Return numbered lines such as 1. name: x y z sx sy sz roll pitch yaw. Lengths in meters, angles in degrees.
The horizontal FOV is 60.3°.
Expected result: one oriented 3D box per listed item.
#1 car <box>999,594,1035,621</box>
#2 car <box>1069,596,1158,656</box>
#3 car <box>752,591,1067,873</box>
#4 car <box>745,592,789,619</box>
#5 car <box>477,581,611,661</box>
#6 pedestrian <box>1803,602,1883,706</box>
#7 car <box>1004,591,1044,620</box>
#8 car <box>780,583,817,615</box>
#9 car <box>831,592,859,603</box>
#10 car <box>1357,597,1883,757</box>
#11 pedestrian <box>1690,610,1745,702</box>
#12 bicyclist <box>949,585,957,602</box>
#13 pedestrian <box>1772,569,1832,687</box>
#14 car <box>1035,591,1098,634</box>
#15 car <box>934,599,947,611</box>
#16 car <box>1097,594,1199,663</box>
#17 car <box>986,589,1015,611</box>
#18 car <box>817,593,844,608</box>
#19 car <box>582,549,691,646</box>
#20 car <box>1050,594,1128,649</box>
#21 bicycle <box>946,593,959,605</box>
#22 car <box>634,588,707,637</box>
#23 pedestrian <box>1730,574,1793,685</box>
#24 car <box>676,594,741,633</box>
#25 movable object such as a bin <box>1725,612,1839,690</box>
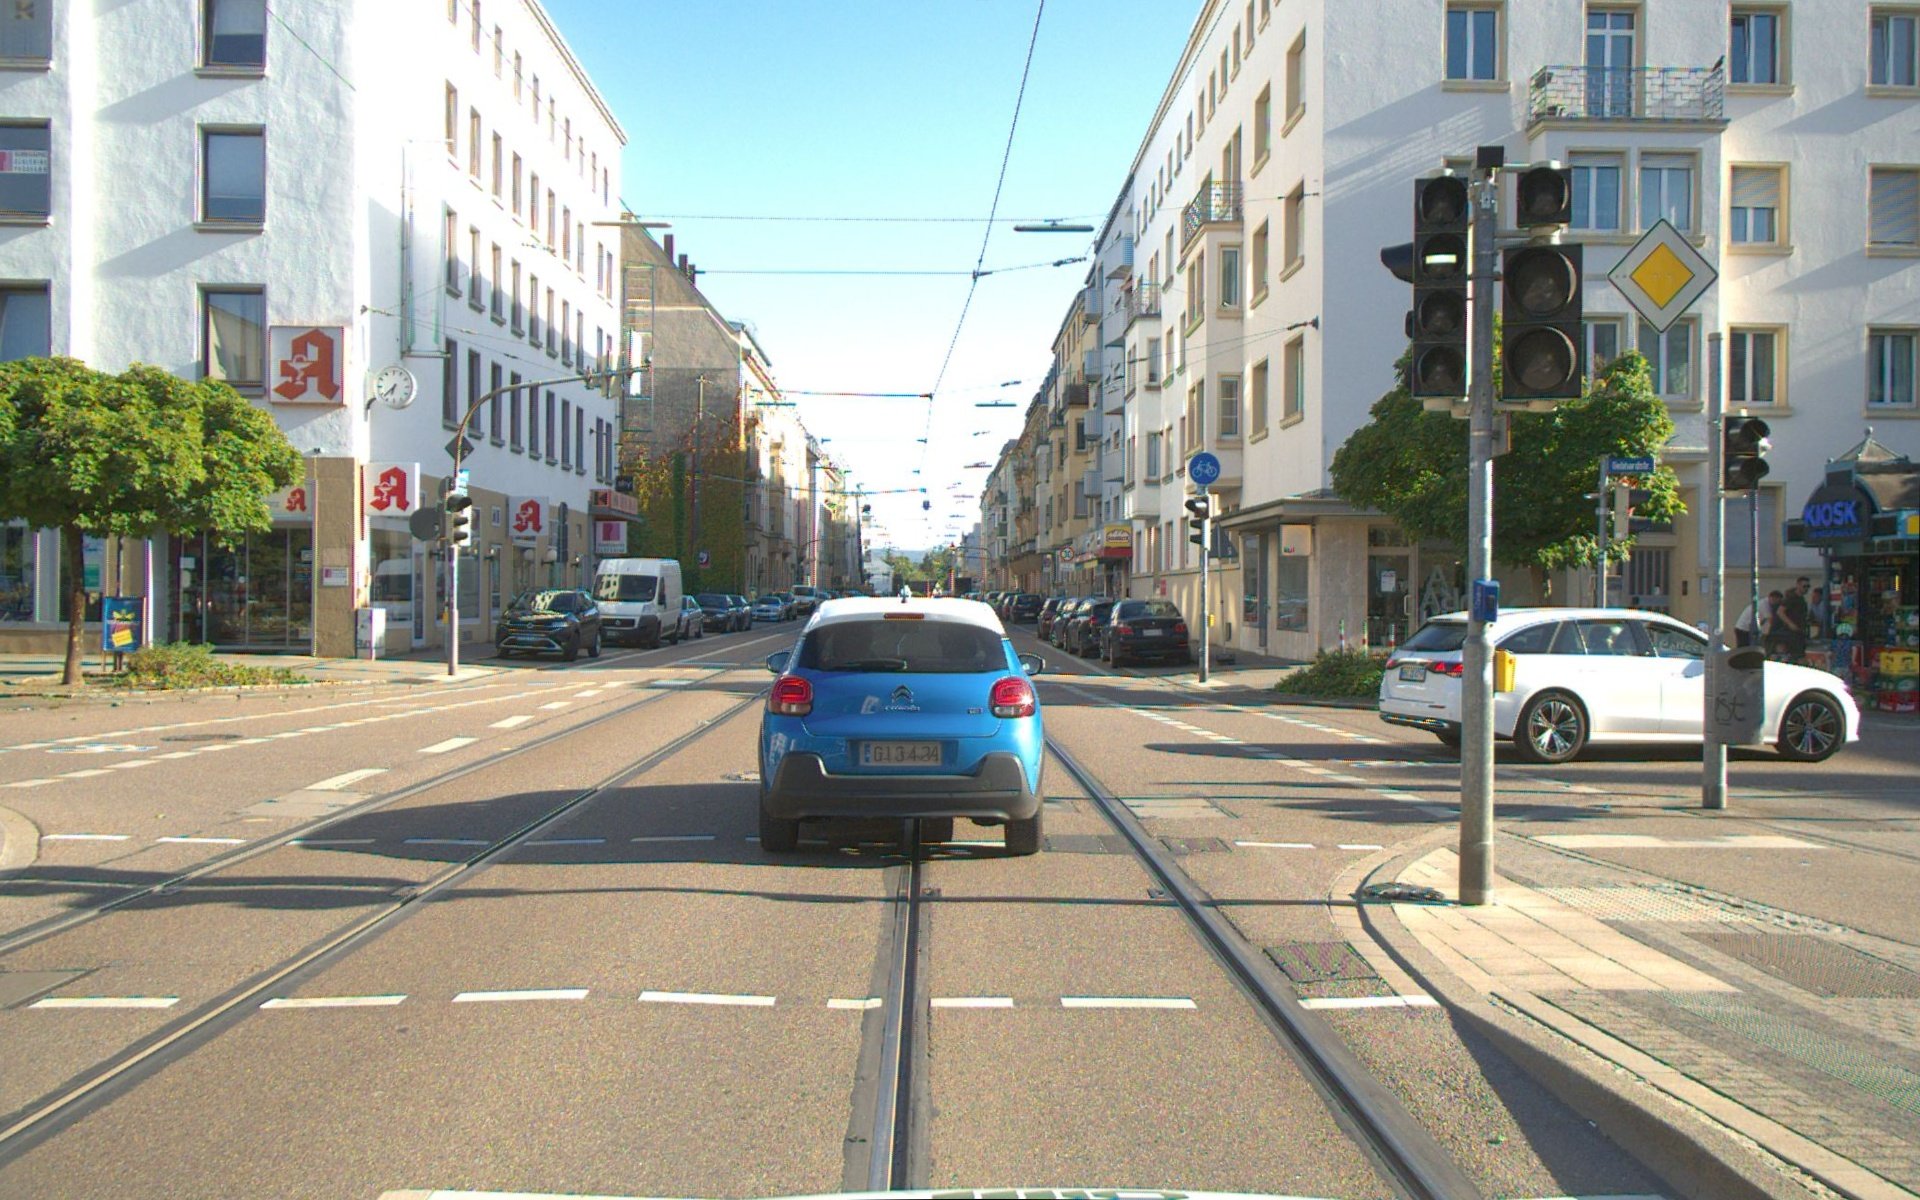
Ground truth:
1. car: 3.283 0.413 95.415 1.953 1.489 4.000 0 0 0
2. car: 3.965 0.645 43.182 1.953 1.489 4.000 0 0 0
3. car: -0.298 0.717 10.950 1.693 1.508 3.826 1 0 -1
4. car: -10.314 0.294 88.528 1.953 1.348 3.921 1 0 -2
5. car: -9.385 0.463 37.679 1.953 1.596 4.401 3 0 -2
6. pedestrian: 12.811 0.775 24.008 0.715 1.434 0.755 0 3 -1
7. car: 3.379 0.256 87.518 1.953 1.489 4.504 0 0 0
8. car: -10.930 -0.044 112.145 1.965 2.049 4.690 1 0 1
9. car: -11.829 -0.256 170.055 1.951 1.176 4.518 0 0 9
10. car: 6.695 0.769 16.980 4.714 1.490 1.985 1 0 -12
11. pedestrian: 11.247 0.816 24.574 0.725 1.339 0.628 0 0 23
12. bicyclist: -0.850 -0.747 192.727 0.792 2.049 0.923 1 -1 8
13. pedestrian: 13.470 0.438 26.470 0.639 1.871 0.659 0 0 2
14. car: 3.716 0.422 58.313 1.953 1.489 4.000 0 0 0
15. car: -2.955 0.706 253.227 1.953 1.803 3.999 0 0 -1
16. car: 4.237 0.622 37.847 1.870 1.489 4.000 0 0 0
17. car: 2.883 -0.001 118.585 1.953 1.489 4.000 0 0 0
18. car: -10.873 0.031 139.420 1.953 1.176 4.000 0 0 0
19. car: -9.295 -0.067 48.041 2.043 2.586 6.203 1 0 -2
20. car: 3.693 0.589 47.911 1.953 1.527 4.000 0 0 0
21. bicycle: -0.862 -0.160 192.773 0.900 1.413 3.134 0 0 9
22. car: -9.538 0.408 54.663 1.850 1.522 3.560 1 0 -2
23. pedestrian: 13.635 0.496 28.149 0.768 1.871 0.678 0 0 2
24. car: -9.607 0.519 63.449 1.953 1.422 4.156 1 0 -2
25. movable object such as a bin: 12.784 0.785 25.762 1.174 1.173 1.217 0 0 0
